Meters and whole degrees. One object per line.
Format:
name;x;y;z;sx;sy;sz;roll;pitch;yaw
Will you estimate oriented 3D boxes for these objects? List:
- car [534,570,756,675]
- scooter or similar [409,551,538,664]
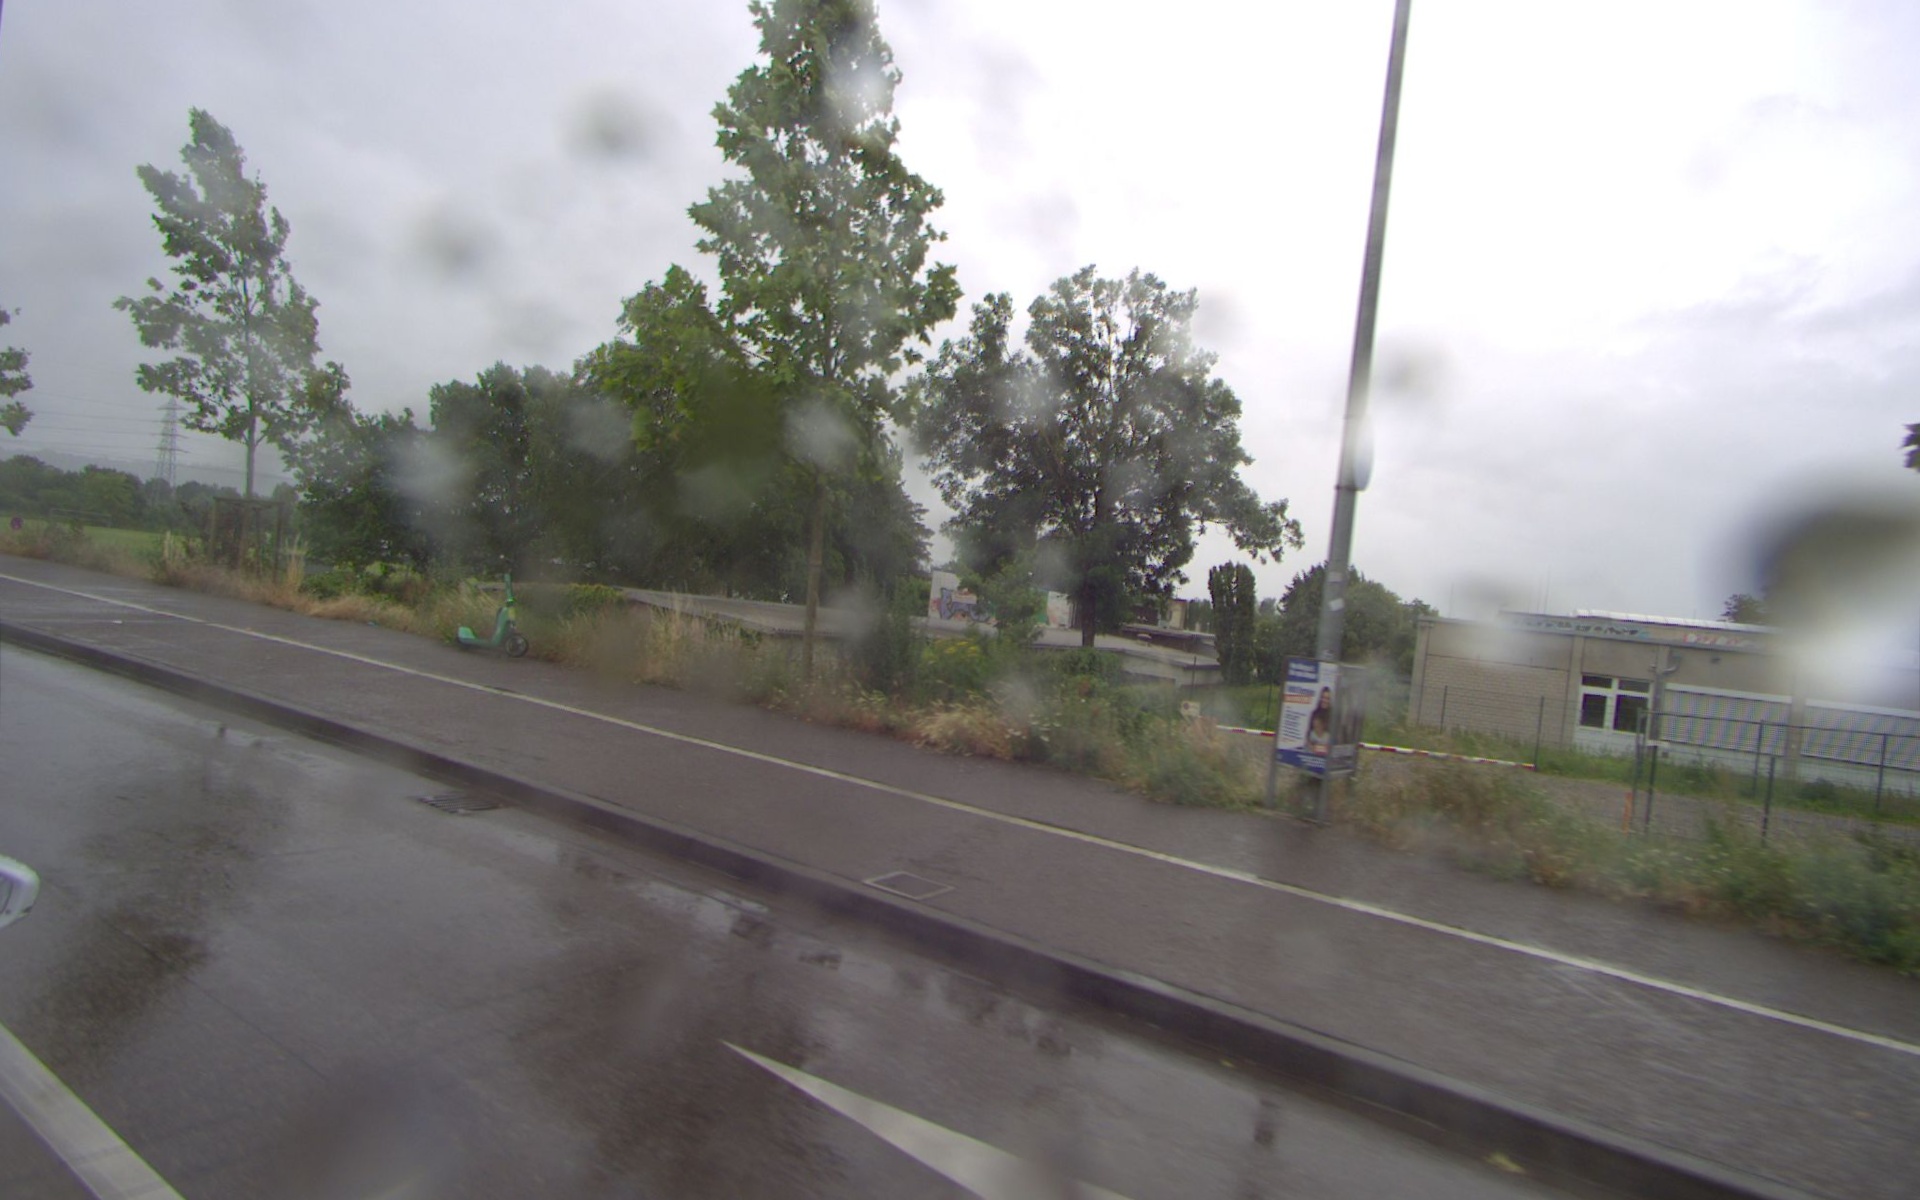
car;-5.004;0.413;16.329;1.323;1.303;3.242;6;-2;32
scooter or similar;-6.119;0.073;12.602;1.881;1.213;0.367;6;-1;31
